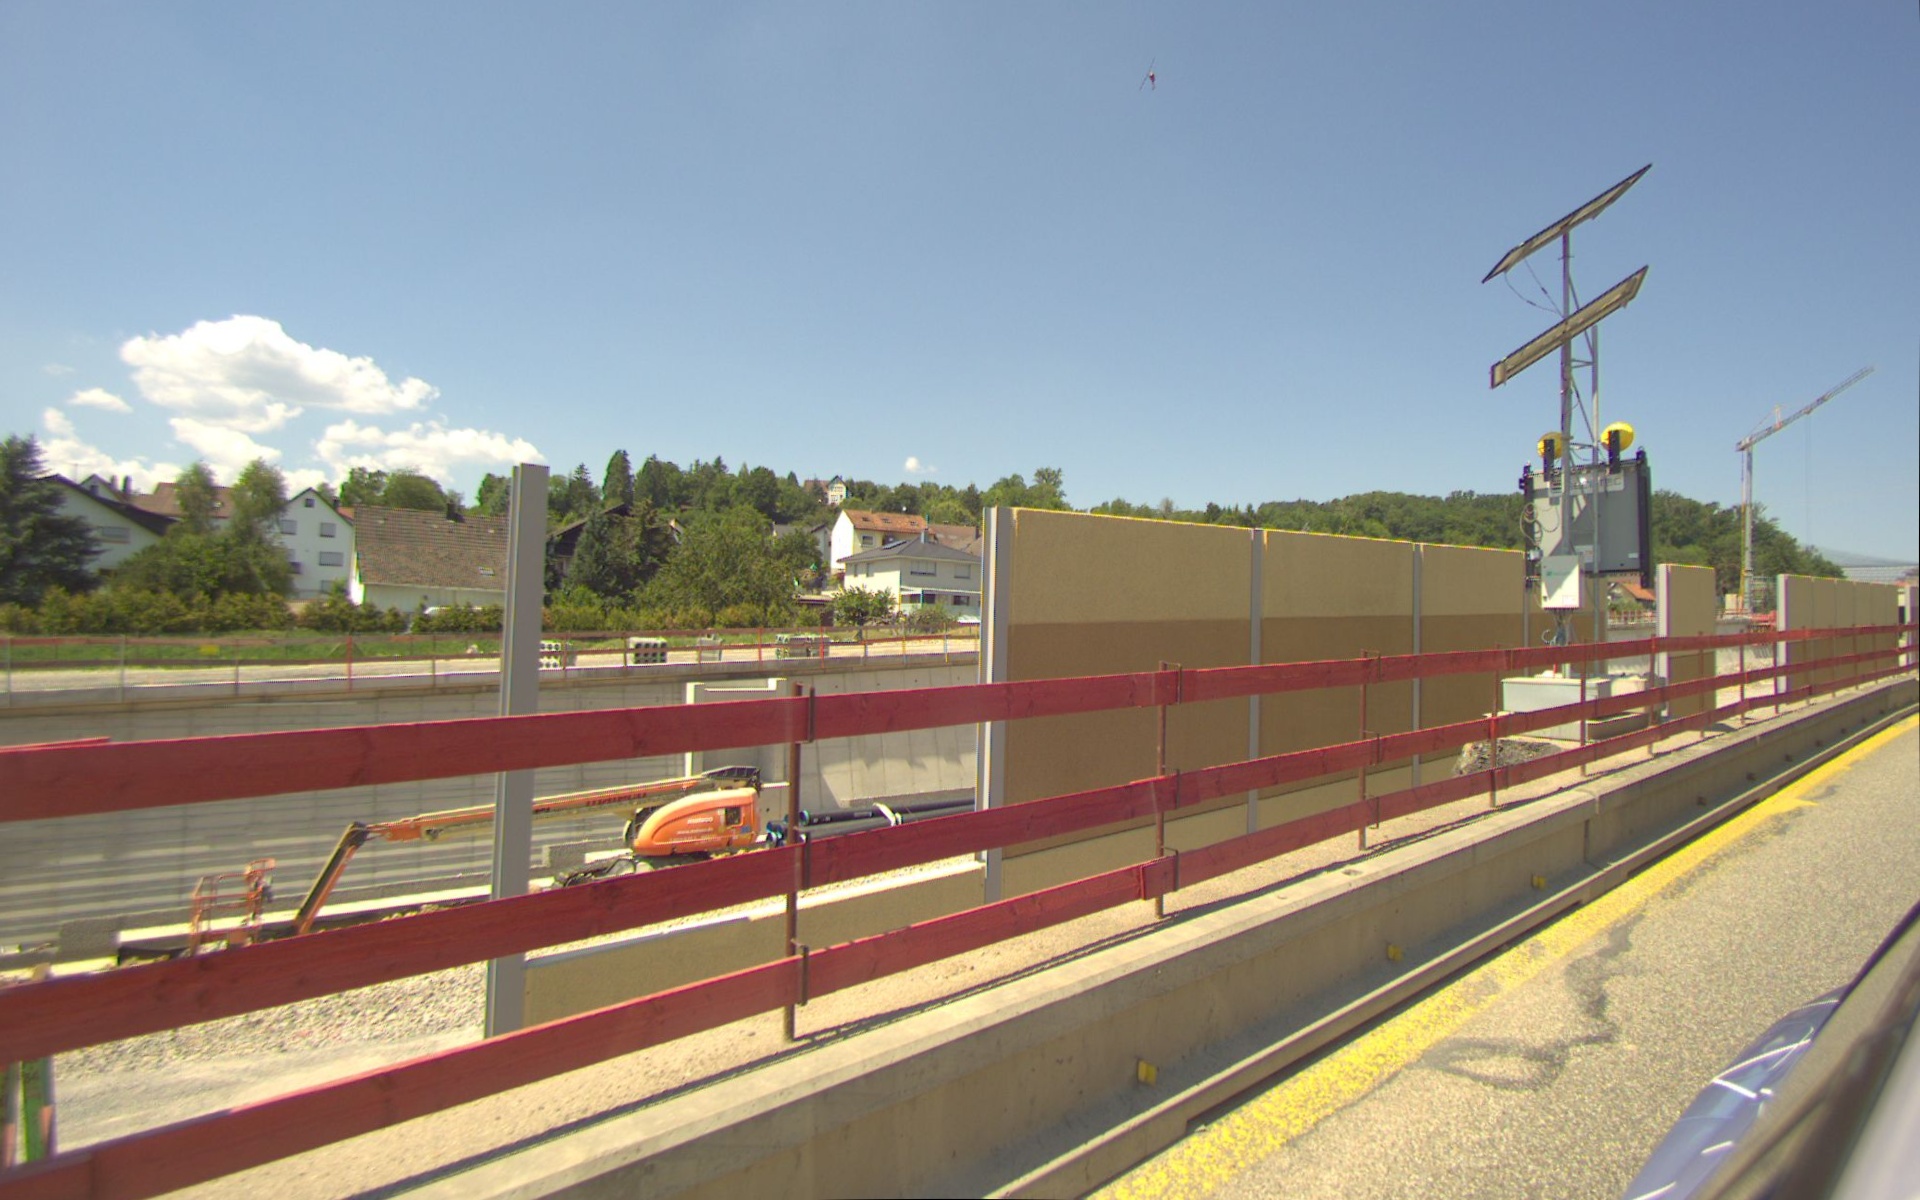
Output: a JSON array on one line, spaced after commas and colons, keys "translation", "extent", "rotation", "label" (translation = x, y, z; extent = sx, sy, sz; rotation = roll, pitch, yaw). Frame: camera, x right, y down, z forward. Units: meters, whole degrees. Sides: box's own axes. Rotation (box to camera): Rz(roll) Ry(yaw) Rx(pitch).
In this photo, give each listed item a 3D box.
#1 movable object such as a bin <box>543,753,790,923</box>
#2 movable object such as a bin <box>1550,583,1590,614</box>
[{"translation": [-6.182, 4.854, 21.521], "extent": [4.376, 2.522, 2.612], "rotation": [0, -1, -41], "label": "movable object such as a bin"}, {"translation": [63.499, -0.125, 105.286], "extent": [4.831, 3.123, 2.201], "rotation": [1, 0, -40], "label": "movable object such as a bin"}]
